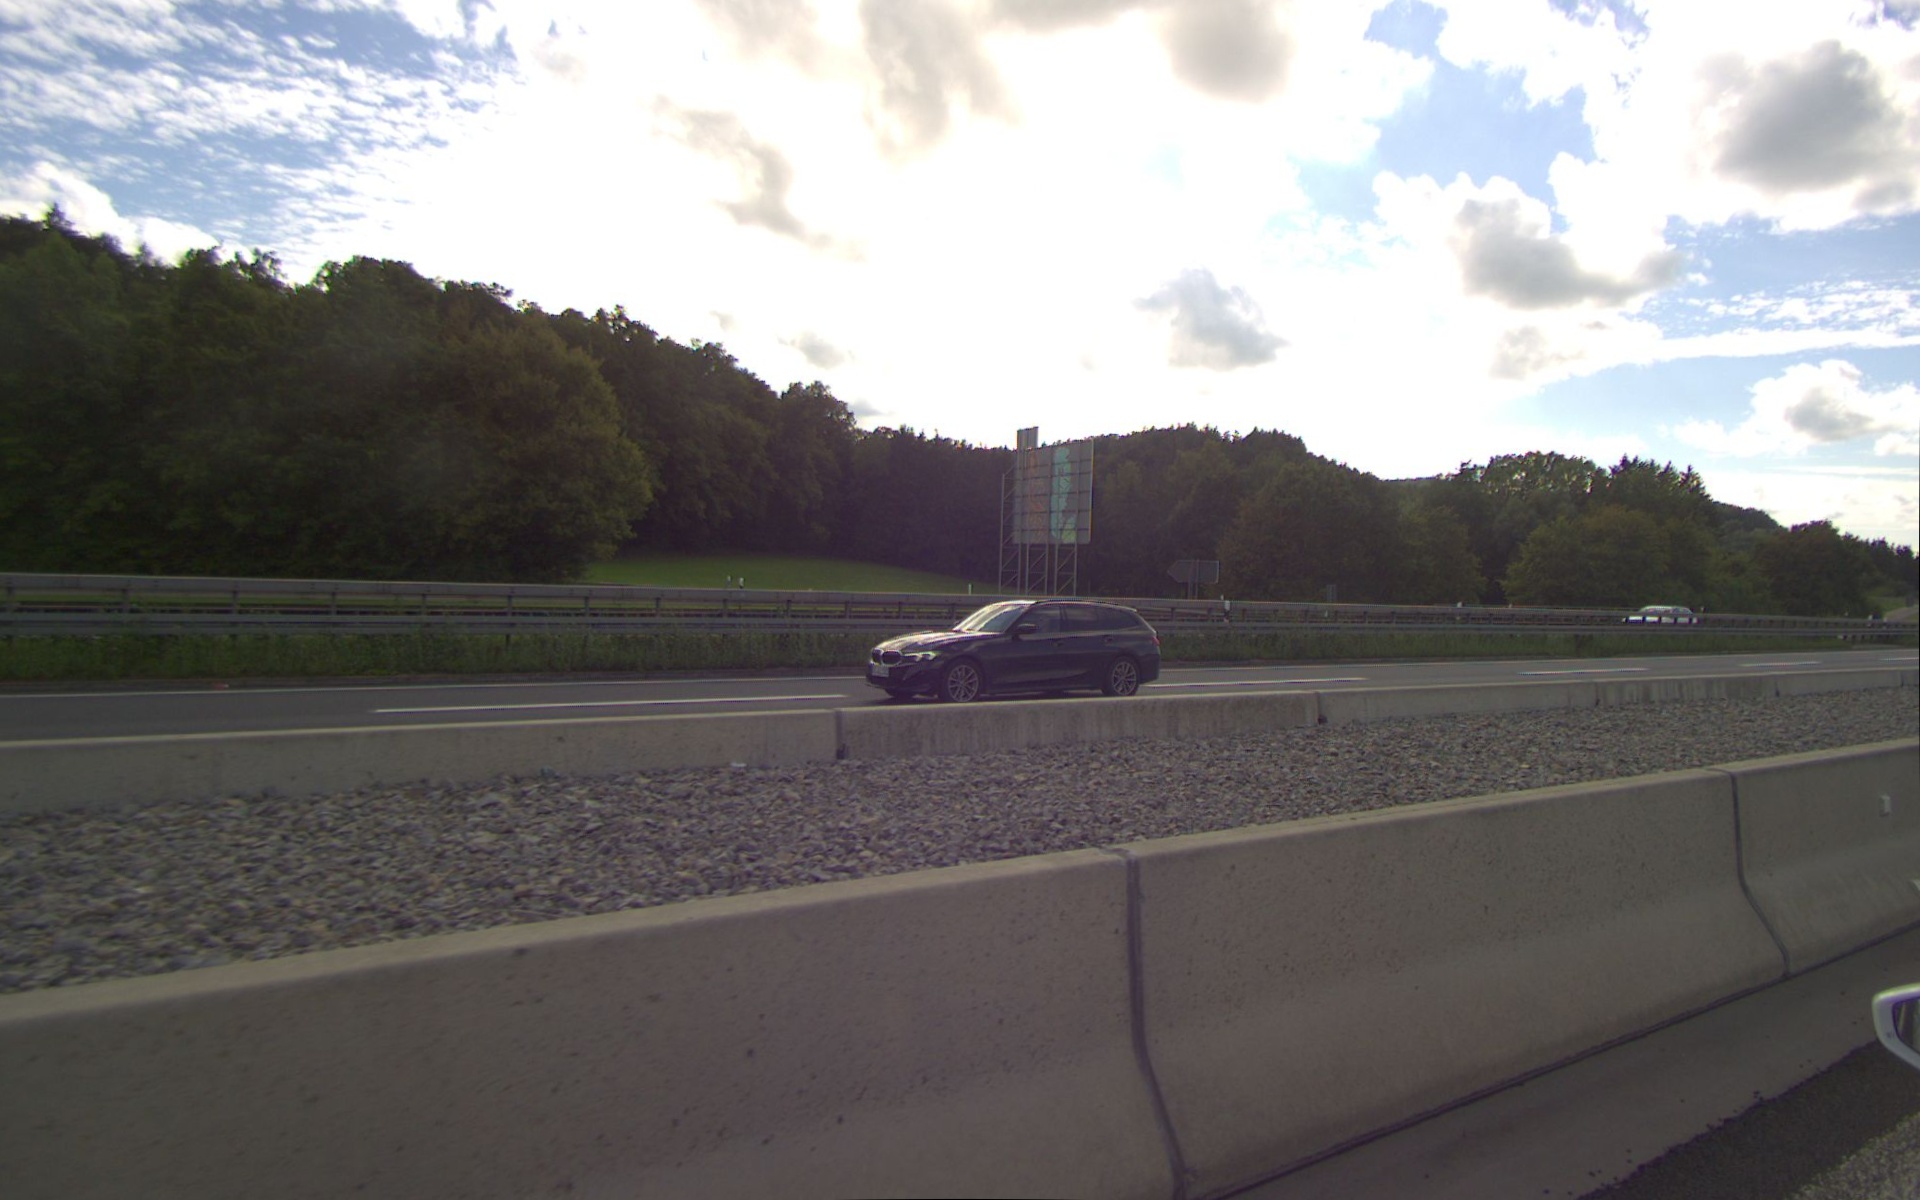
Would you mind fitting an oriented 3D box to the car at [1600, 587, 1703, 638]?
[{"bbox_3d":[32.281,0.594,46.877,5.087,2.263,1.983,1,1,-31],"label":"car"}]

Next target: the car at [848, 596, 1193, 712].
[{"bbox_3d":[0.979,0.723,14.752,4.940,1.436,1.775,1,0,-32],"label":"car"}]
